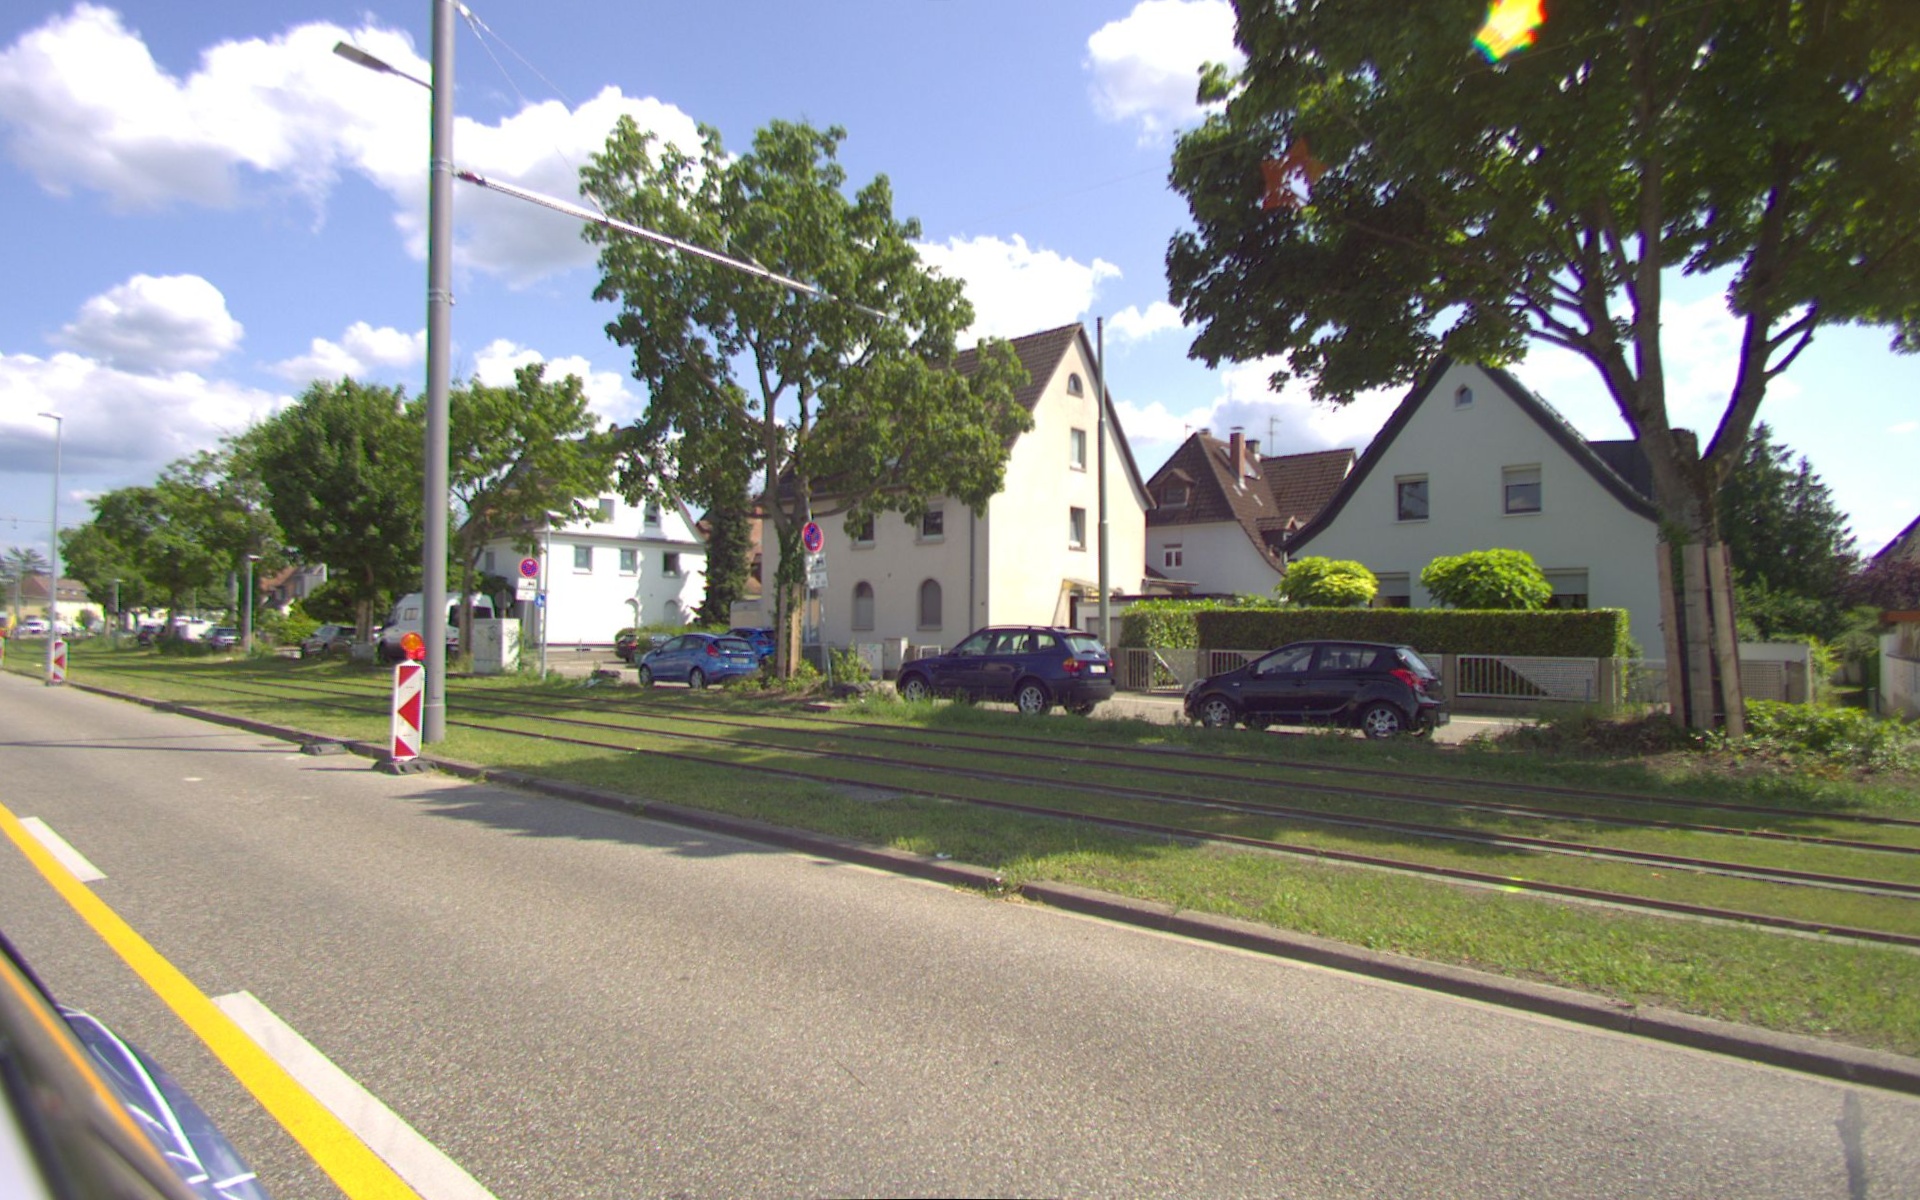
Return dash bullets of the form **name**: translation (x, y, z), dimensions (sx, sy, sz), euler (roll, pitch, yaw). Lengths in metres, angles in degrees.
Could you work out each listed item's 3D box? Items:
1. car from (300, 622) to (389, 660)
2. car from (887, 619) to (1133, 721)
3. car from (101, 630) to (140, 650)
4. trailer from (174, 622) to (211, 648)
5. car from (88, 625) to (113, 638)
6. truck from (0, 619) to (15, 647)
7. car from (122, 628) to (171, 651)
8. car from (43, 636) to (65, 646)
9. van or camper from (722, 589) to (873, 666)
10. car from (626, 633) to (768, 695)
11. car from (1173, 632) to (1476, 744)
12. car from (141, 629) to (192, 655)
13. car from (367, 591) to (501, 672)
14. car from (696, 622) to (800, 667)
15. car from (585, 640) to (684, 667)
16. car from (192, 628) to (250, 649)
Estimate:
- **car**: translation (-26.481, 1.733, 43.487), dimensions (4.485, 1.517, 1.972), euler (-1, -3, 42)
- **car**: translation (0.901, 1.261, 19.432), dimensions (4.386, 1.704, 1.974), euler (0, -3, 38)
- **car**: translation (-69.756, 3.333, 84.094), dimensions (4.324, 1.551, 1.971), euler (-1, -3, 44)
- **trailer**: translation (-45.577, 2.069, 60.089), dimensions (2.281, 1.530, 1.285), euler (-1, -3, 42)
- **car**: translation (-140.384, 5.155, 165.248), dimensions (1.811, 2.070, 3.880), euler (2, -2, -21)
- **truck**: translation (-121.972, 4.164, 127.623), dimensions (2.659, 3.392, 8.070), euler (3, -3, -34)
- **car**: translation (-56.745, 2.748, 70.550), dimensions (4.321, 1.551, 1.972), euler (-1, -3, 42)
- **car**: translation (-136.191, 6.141, 152.187), dimensions (1.488, 1.510, 3.586), euler (2, -3, -27)
- **van or camper**: translation (-7.251, 1.274, 45.949), dimensions (2.633, 3.246, 6.658), euler (-2, -3, 41)
- **car**: translation (-6.817, 1.598, 26.074), dimensions (3.890, 1.446, 1.734), euler (-1, -3, 43)
- **car**: translation (5.583, 1.282, 15.707), dimensions (3.998, 1.450, 1.973), euler (-1, -4, 41)
- **car**: translation (-52.765, 2.825, 67.252), dimensions (4.099, 1.590, 1.885), euler (-3, -7, 42)
- **car**: translation (-19.445, 1.185, 37.246), dimensions (6.456, 2.751, 1.974), euler (-2, -3, 39)
- **car**: translation (-8.121, 1.668, 38.652), dimensions (3.999, 1.589, 1.882), euler (-1, -3, 42)
- **car**: translation (-15.215, 2.483, 47.424), dimensions (2.045, 1.170, 3.945), euler (-1, -3, 41)
- **car**: translation (-41.342, 2.147, 56.595), dimensions (3.834, 1.101, 1.762), euler (-1, -3, 41)
